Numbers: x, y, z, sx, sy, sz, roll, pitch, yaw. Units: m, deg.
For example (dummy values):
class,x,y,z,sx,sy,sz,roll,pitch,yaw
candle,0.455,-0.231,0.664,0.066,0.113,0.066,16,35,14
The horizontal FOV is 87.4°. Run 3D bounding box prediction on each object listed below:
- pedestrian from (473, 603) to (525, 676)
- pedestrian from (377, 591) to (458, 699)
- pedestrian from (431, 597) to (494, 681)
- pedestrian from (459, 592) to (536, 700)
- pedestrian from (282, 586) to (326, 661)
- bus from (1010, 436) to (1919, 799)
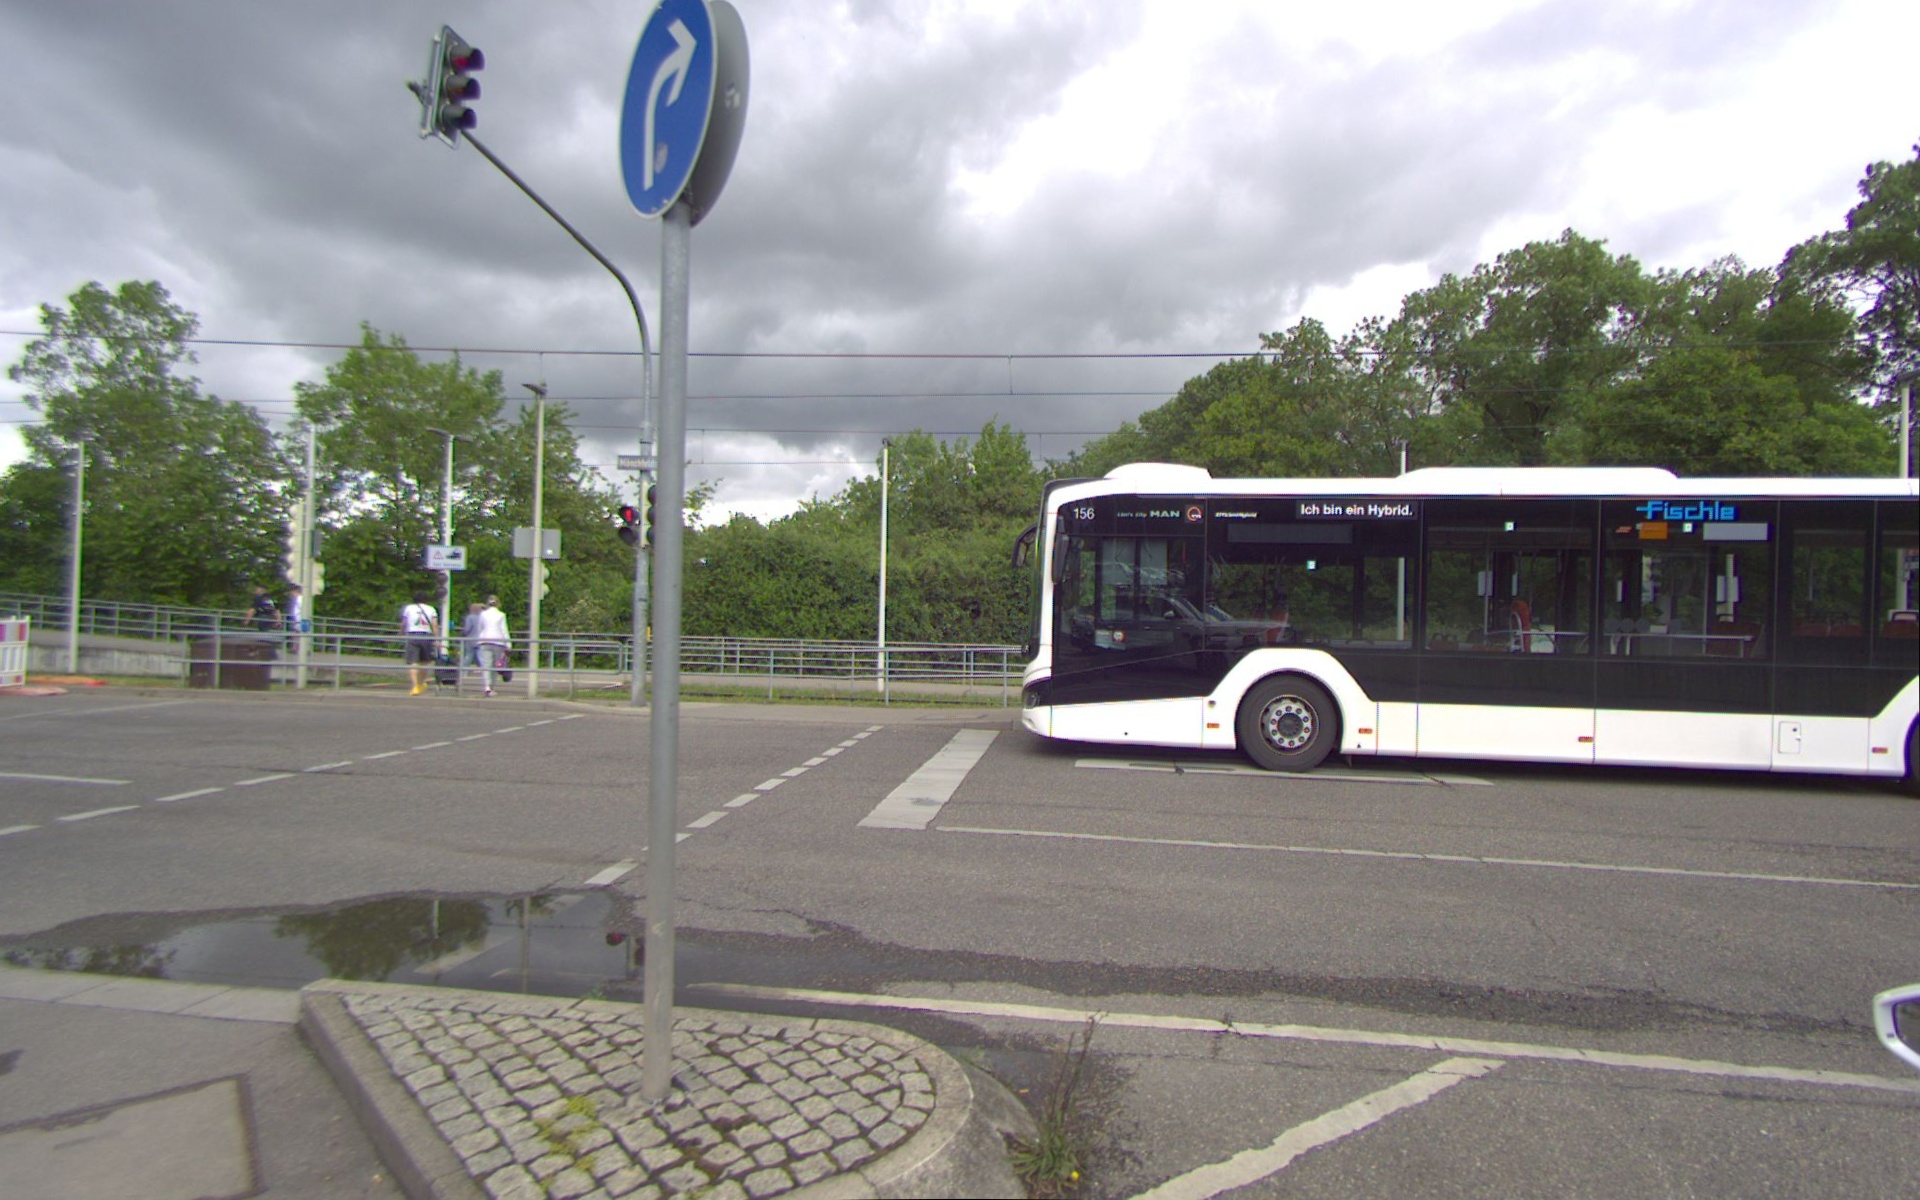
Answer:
class,x,y,z,sx,sy,sz,roll,pitch,yaw
pedestrian,-10.675,0.902,23.286,0.708,1.642,0.806,1,-1,9
pedestrian,-9.240,0.755,17.138,0.708,1.771,0.958,1,-1,14
pedestrian,-10.823,0.842,21.868,0.938,1.771,0.723,2,-1,4
pedestrian,-7.925,0.782,17.237,0.708,1.771,0.958,1,-1,14
pedestrian,-15.996,0.574,24.501,0.717,1.771,0.946,3,-1,-42
bus,6.660,0.142,10.627,11.951,3.245,2.677,1,-1,9
